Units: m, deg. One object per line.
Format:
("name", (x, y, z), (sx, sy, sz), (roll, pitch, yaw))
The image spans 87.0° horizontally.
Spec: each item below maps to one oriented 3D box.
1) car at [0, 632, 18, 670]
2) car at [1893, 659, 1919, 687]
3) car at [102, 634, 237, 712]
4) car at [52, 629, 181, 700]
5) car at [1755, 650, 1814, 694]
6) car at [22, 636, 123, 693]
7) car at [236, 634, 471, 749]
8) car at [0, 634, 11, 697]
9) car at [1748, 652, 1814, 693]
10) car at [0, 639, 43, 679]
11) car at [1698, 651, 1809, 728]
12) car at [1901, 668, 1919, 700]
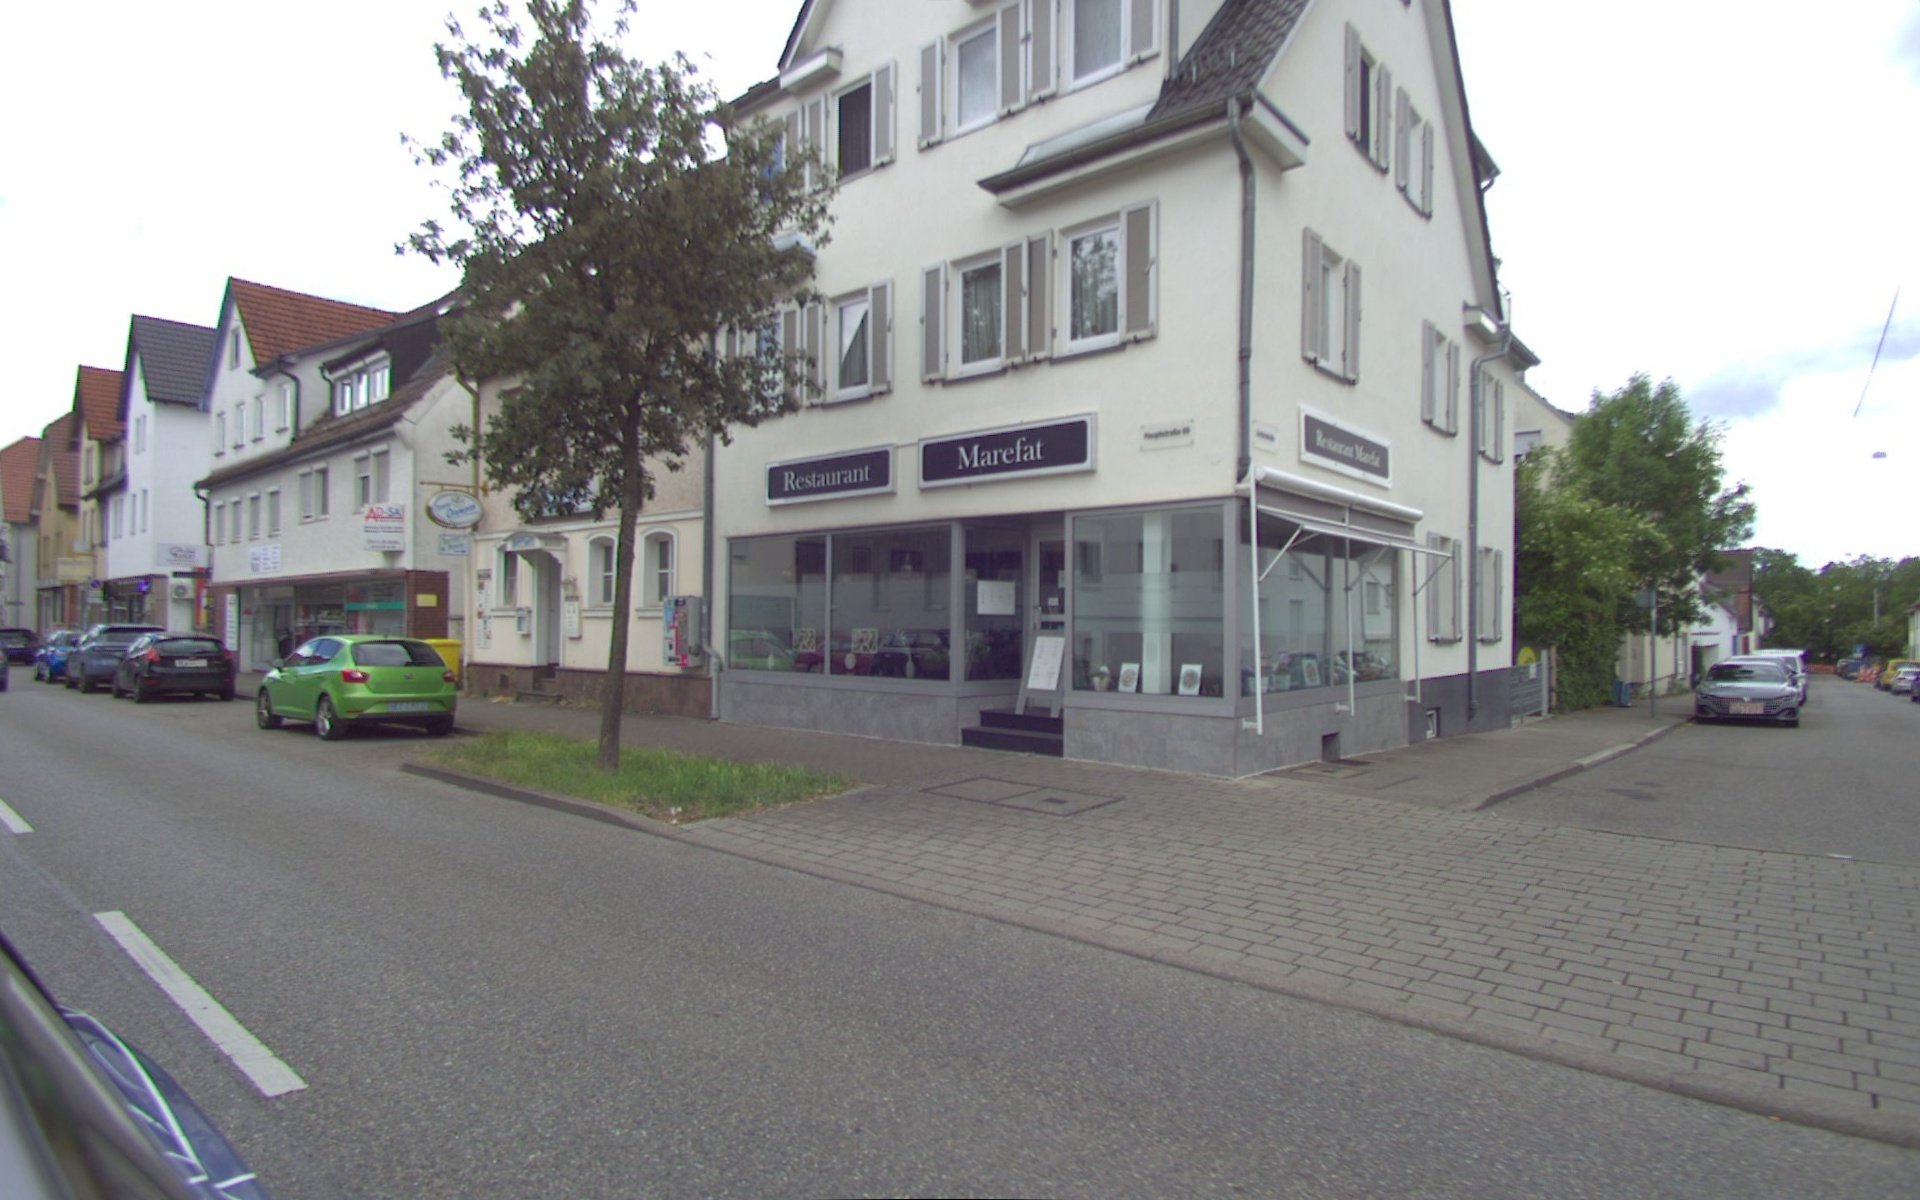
("car", (-42.110, 2.173, 43.670), (4.112, 1.578, 1.692), (-1, -3, 42))
("car", (56.968, 4.385, 60.459), (1.669, 1.589, 3.663), (-2, -5, 41))
("car", (-17.051, 1.517, 21.781), (3.811, 1.519, 1.565), (-1, -4, 41))
("car", (-20.985, 1.550, 25.117), (4.302, 1.611, 1.784), (-1, -3, 42))
("car", (34.854, 3.035, 42.751), (1.809, 1.735, 3.663), (-2, -5, 41))
("car", (-25.581, 1.802, 29.134), (3.773, 1.511, 1.664), (-1, -3, 42))
("car", (-9.046, 1.259, 14.977), (4.015, 1.458, 1.666), (-1, -3, 39))
("car", (-24.448, 1.538, 24.412), (4.015, 1.458, 1.666), (-1, -3, 39))
("car", (31.221, 2.757, 38.460), (1.809, 1.427, 3.663), (-2, -5, 41))
("car", (-37.162, 2.274, 39.442), (3.590, 1.505, 1.664), (-1, -3, 42))
("car", (18.099, 2.005, 23.023), (1.809, 1.589, 3.663), (-2, -5, 41))
("car", (49.775, 4.325, 52.172), (1.669, 1.589, 3.663), (-2, -5, 41))
